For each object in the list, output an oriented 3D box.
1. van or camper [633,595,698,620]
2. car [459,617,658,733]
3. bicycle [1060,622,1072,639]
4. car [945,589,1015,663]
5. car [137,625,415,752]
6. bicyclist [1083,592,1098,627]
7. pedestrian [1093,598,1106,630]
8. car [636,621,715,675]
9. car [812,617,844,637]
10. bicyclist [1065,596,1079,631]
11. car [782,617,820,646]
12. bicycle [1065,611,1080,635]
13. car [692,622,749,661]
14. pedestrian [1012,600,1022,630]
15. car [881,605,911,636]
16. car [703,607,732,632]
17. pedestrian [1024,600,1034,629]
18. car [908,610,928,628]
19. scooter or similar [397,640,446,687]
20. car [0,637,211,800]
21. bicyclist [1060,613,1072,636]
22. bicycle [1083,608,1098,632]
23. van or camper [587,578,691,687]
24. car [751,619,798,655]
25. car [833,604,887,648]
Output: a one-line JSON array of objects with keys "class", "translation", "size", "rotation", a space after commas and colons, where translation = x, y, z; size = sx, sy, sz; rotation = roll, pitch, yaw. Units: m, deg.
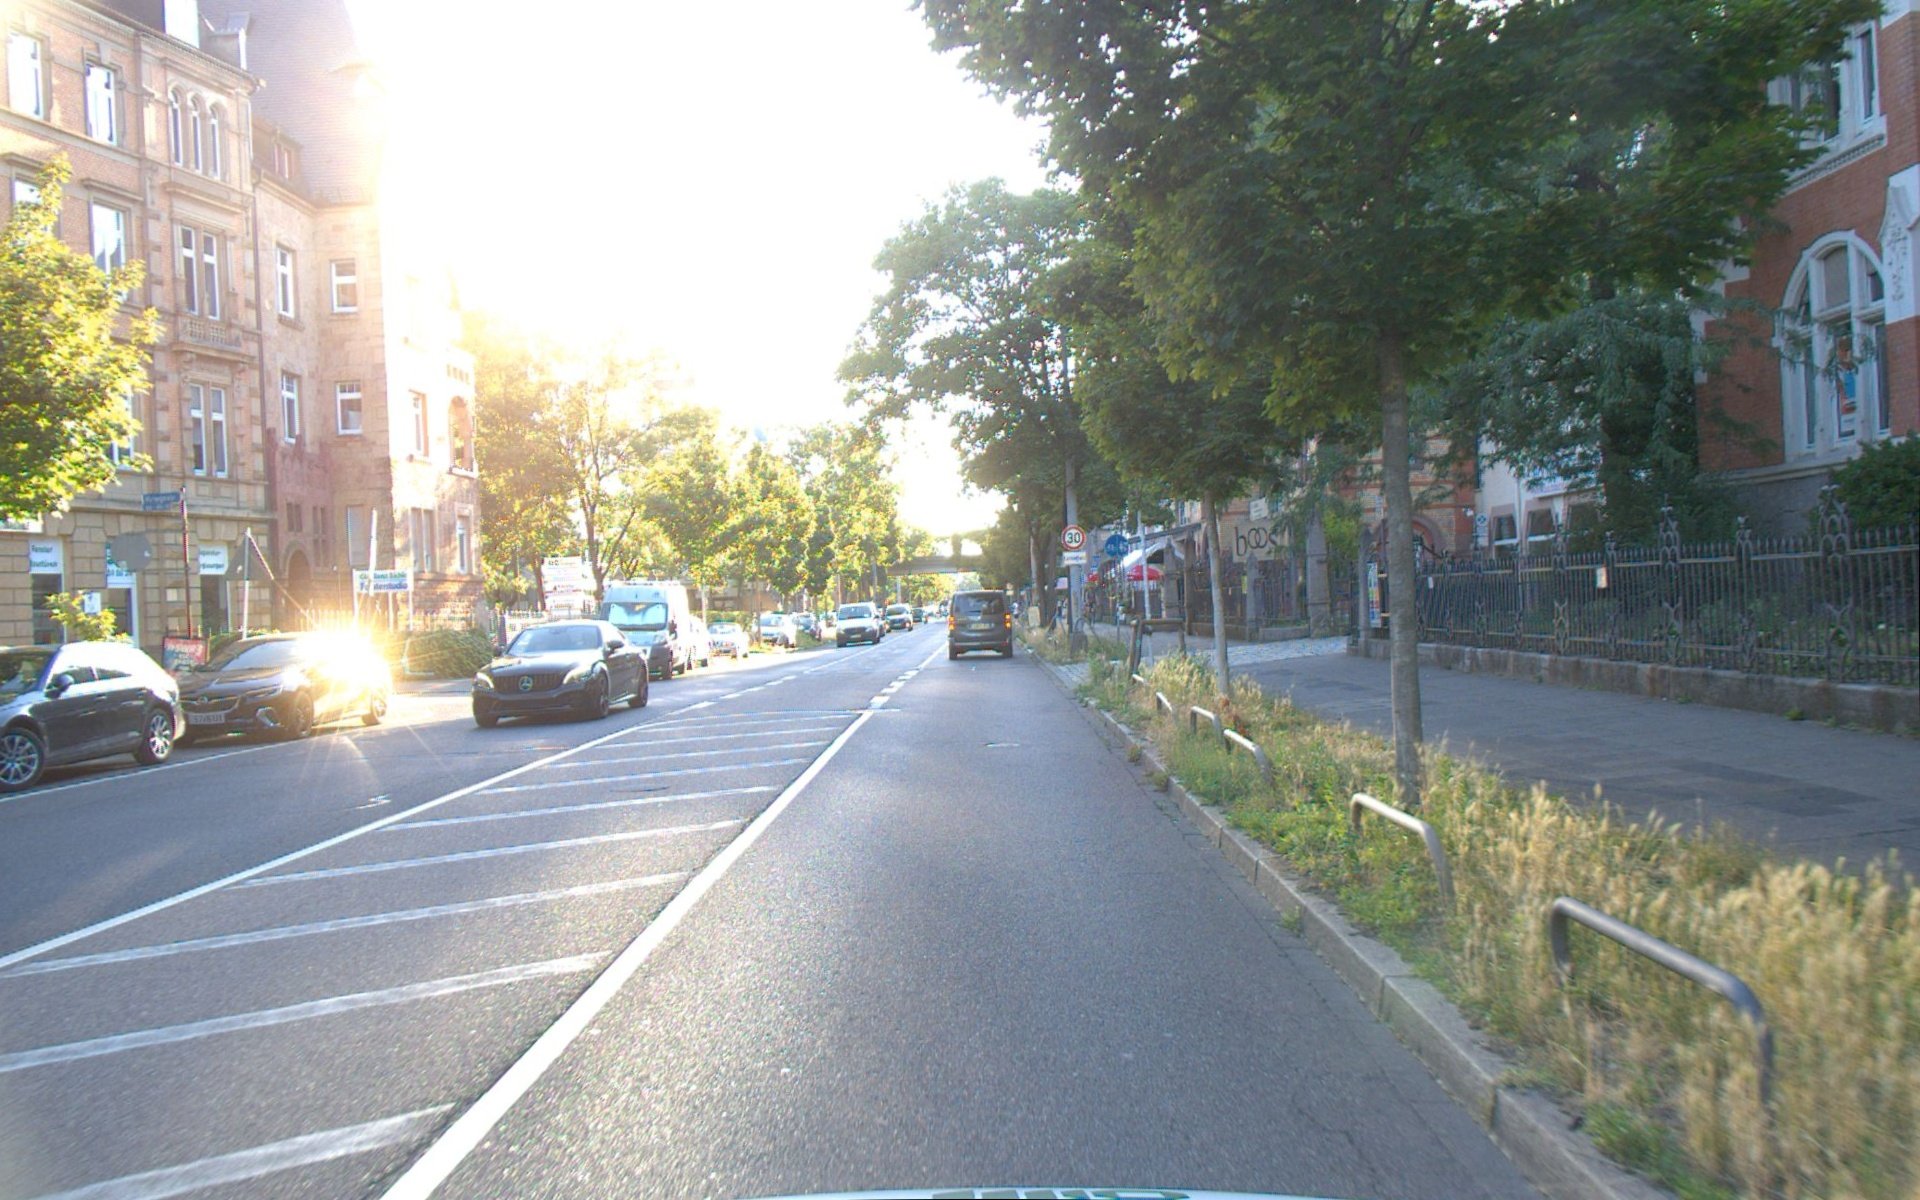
[{"class": "van or camper", "translation": [-31.325, 0.813, 175.824], "size": [6.430, 2.566, 2.449], "rotation": [-1, 0, -1]}, {"class": "car", "translation": [-5.833, 1.035, 24.594], "size": [1.730, 1.426, 4.545], "rotation": [-3, 0, 1]}, {"class": "bicycle", "translation": [5.950, 1.695, 92.816], "size": [0.567, 0.913, 1.987], "rotation": [-1, 0, 1]}, {"class": "car", "translation": [0.604, 0.737, 48.106], "size": [1.848, 1.958, 3.840], "rotation": [-3, 0, 1]}, {"class": "car", "translation": [-9.744, 1.193, 24.055], "size": [1.953, 1.509, 4.829], "rotation": [-3, 0, 0]}, {"class": "bicyclist", "translation": [5.808, 0.430, 73.601], "size": [0.583, 1.559, 0.893], "rotation": [-1, -1, 0]}, {"class": "pedestrian", "translation": [7.404, 0.726, 87.574], "size": [0.631, 1.662, 0.656], "rotation": [-1, -1, 1]}, {"class": "car", "translation": [-8.855, 1.473, 51.791], "size": [1.710, 1.561, 4.302], "rotation": [-1, 0, 0]}, {"class": "car", "translation": [-9.991, 2.003, 125.408], "size": [1.952, 1.439, 4.237], "rotation": [-1, 0, 1]}, {"class": "bicyclist", "translation": [5.044, 0.589, 74.435], "size": [0.583, 1.559, 0.893], "rotation": [-1, -1, 0]}, {"class": "car", "translation": [-8.286, 1.641, 86.405], "size": [1.604, 1.410, 3.999], "rotation": [-1, 0, 0]}, {"class": "bicycle", "translation": [5.037, 1.033, 74.403], "size": [0.533, 1.058, 2.089], "rotation": [-1, 0, 1]}, {"class": "car", "translation": [-8.480, 1.448, 58.825], "size": [1.504, 1.270, 3.613], "rotation": [-1, 0, 0]}, {"class": "pedestrian", "translation": [3.724, 0.971, 107.962], "size": [0.496, 1.922, 0.543], "rotation": [-1, -1, -14]}, {"class": "car", "translation": [-4.293, 1.365, 111.726], "size": [1.796, 1.885, 4.473], "rotation": [-4, 0, 0]}, {"class": "car", "translation": [-23.089, 1.835, 157.642], "size": [1.952, 2.348, 5.245], "rotation": [-1, 0, 1]}, {"class": "pedestrian", "translation": [4.475, 0.941, 107.556], "size": [0.496, 1.922, 0.543], "rotation": [-1, -1, -14]}, {"class": "car", "translation": [-3.939, 1.794, 155.772], "size": [1.645, 1.556, 4.000], "rotation": [-4, 0, 1]}, {"class": "scooter or similar", "translation": [-13.393, 1.576, 41.185], "size": [0.283, 1.075, 1.111], "rotation": [-4, 0, 43]}, {"class": "car", "translation": [-10.041, 1.219, 17.878], "size": [1.700, 1.471, 4.625], "rotation": [-3, 0, 0]}, {"class": "bicyclist", "translation": [5.948, 1.354, 92.890], "size": [0.573, 1.258, 1.112], "rotation": [-1, 0, 0]}, {"class": "bicycle", "translation": [5.781, 0.892, 73.529], "size": [0.506, 1.058, 2.089], "rotation": [-1, 0, 1]}, {"class": "van or camper", "translation": [-8.575, 0.834, 44.674], "size": [1.954, 2.715, 6.034], "rotation": [-1, 0, -3]}, {"class": "car", "translation": [-8.256, 1.626, 73.838], "size": [1.662, 1.477, 3.999], "rotation": [-1, 0, 0]}, {"class": "car", "translation": [-4.612, 1.188, 76.996], "size": [1.953, 1.863, 5.170], "rotation": [-4, 0, 1]}]
